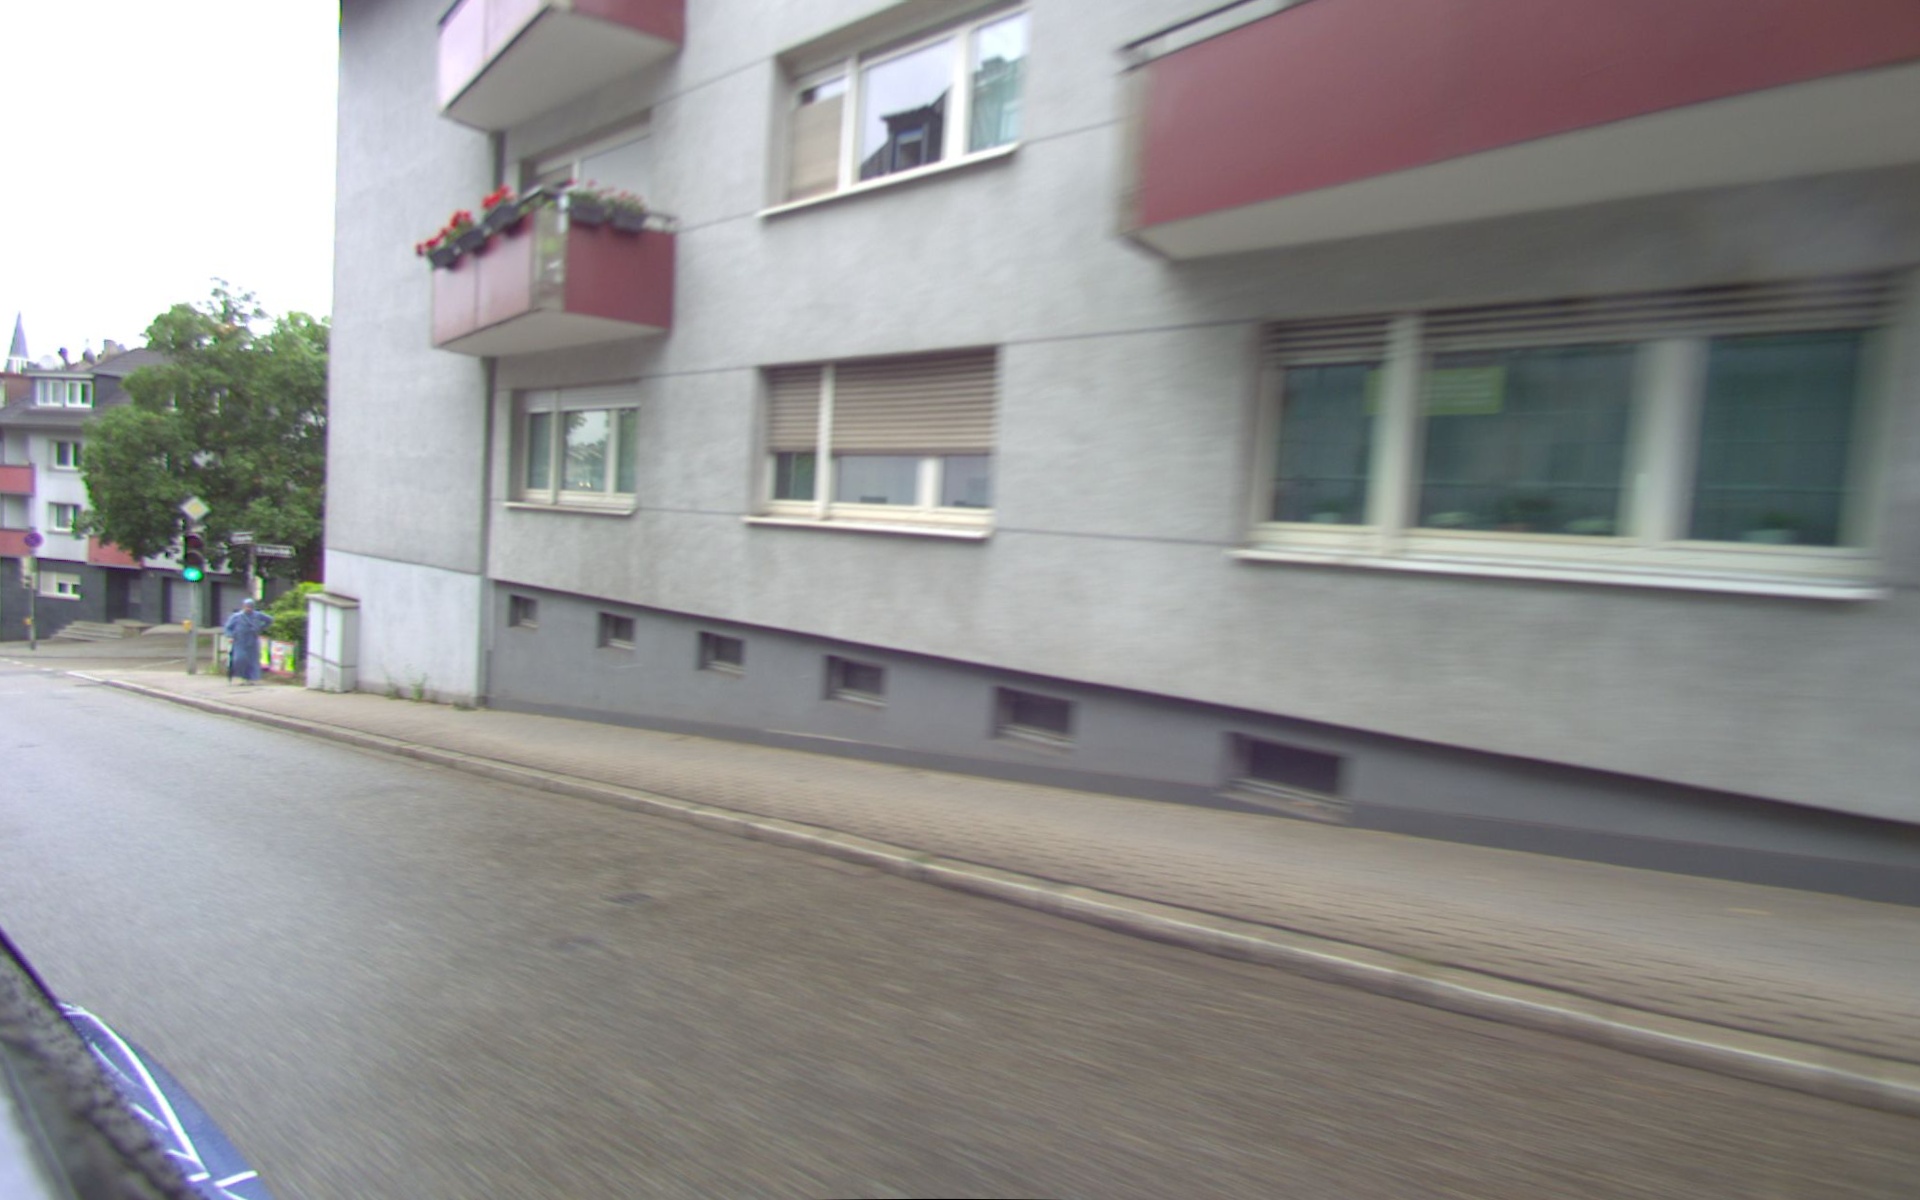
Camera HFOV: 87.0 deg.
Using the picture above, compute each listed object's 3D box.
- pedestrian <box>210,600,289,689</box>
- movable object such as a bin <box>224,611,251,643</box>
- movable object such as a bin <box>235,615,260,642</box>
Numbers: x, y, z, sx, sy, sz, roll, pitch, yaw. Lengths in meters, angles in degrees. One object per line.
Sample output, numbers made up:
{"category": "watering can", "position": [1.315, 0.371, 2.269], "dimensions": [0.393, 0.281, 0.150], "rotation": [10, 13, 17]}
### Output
{"category": "pedestrian", "position": [-12.936, 0.787, 18.425], "dimensions": [1.086, 1.553, 0.861], "rotation": [-1, 1, 38]}
{"category": "movable object such as a bin", "position": [-28.719, 1.077, 40.213], "dimensions": [0.682, 1.208, 0.559], "rotation": [1, 2, 15]}
{"category": "movable object such as a bin", "position": [-28.133, 1.108, 39.961], "dimensions": [0.496, 1.023, 0.627], "rotation": [1, 2, 15]}
